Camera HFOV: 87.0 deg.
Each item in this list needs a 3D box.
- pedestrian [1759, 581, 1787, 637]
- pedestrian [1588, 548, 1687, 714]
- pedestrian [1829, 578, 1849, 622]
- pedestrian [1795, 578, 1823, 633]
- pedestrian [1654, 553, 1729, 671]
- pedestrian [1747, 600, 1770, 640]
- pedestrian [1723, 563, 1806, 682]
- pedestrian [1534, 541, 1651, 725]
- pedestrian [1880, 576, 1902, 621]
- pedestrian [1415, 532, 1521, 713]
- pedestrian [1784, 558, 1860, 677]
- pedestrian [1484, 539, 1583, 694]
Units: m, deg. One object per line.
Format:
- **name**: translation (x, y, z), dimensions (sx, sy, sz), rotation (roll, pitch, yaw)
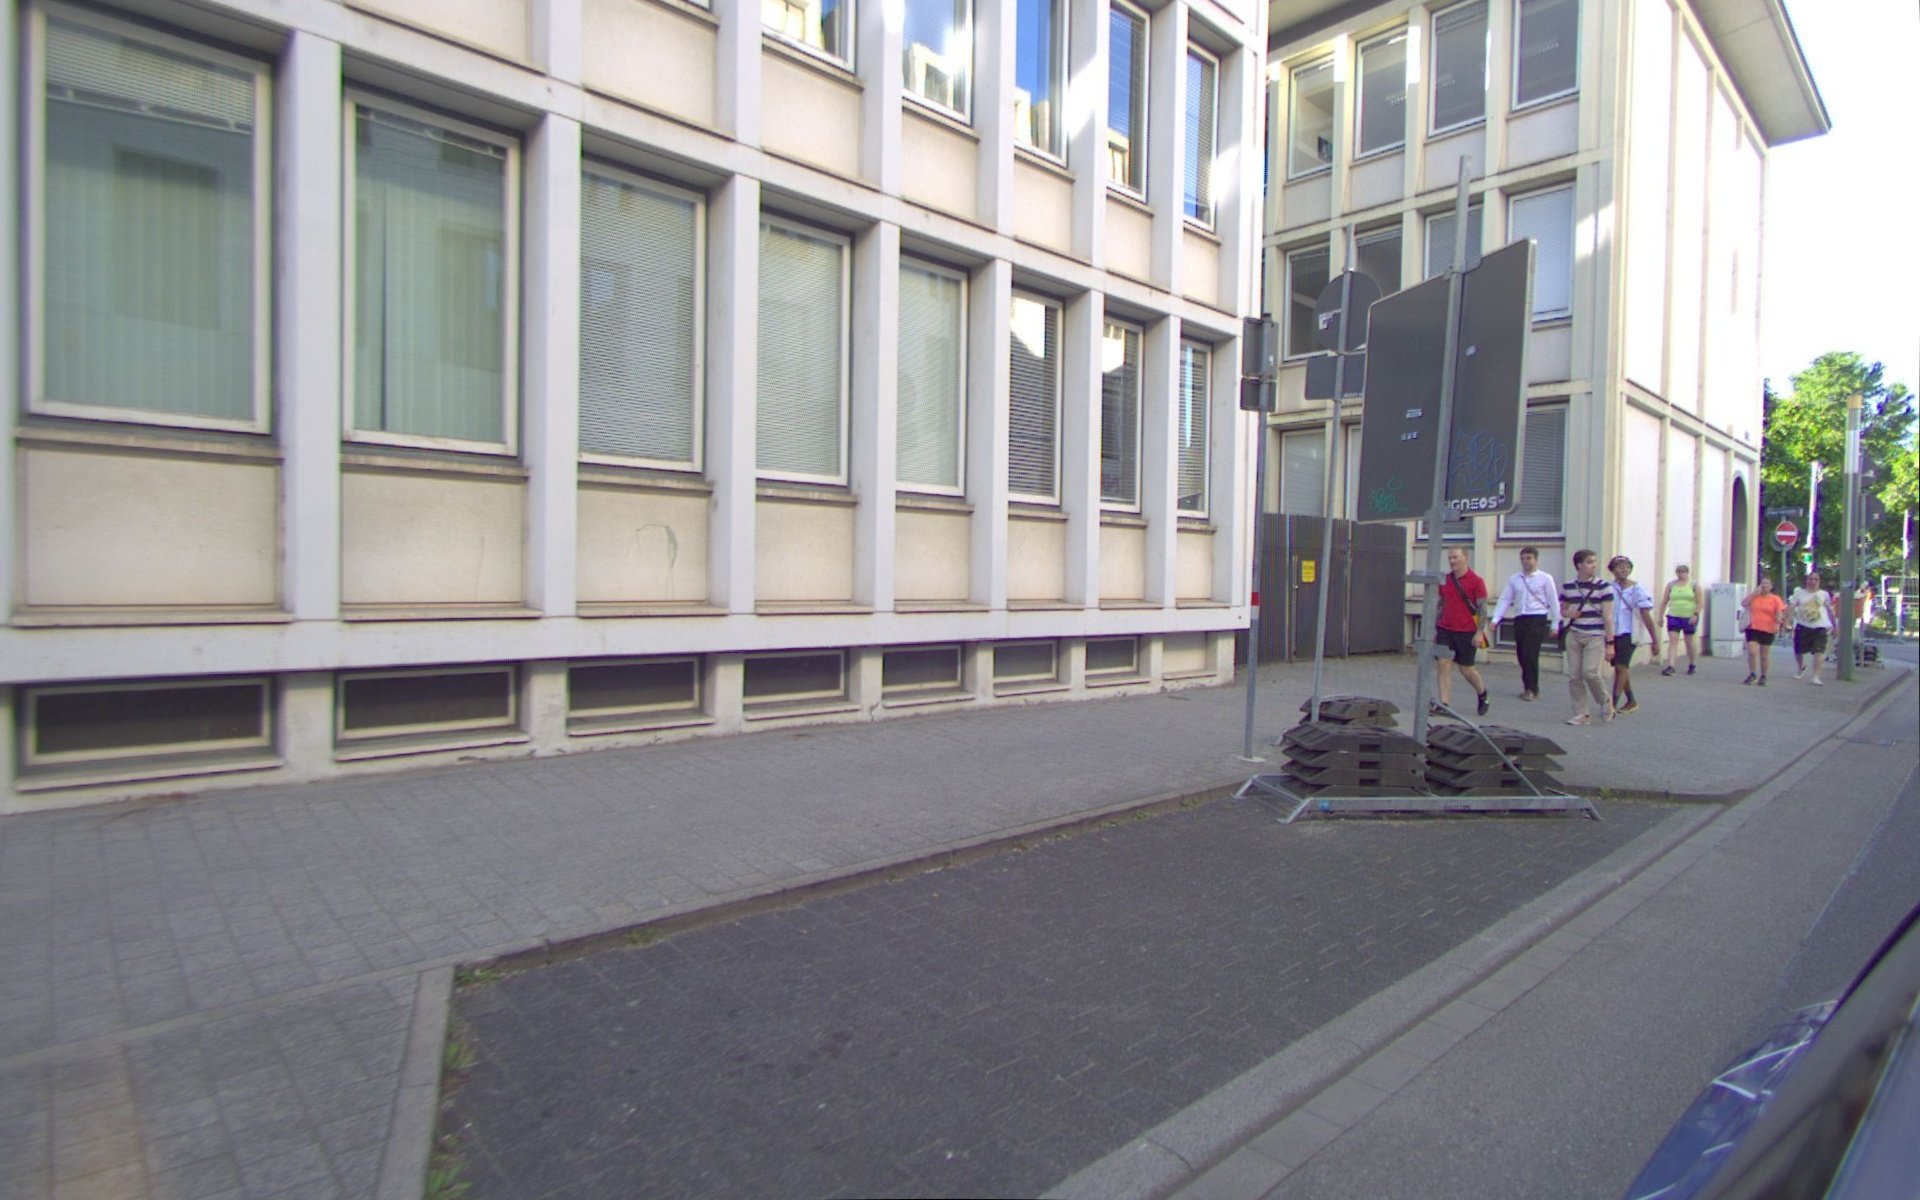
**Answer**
- **pedestrian**: translation (24.589, 0.256, 30.610), dimensions (0.624, 1.662, 0.614), rotation (1, 1, 42)
- **pedestrian**: translation (7.701, 0.326, 11.512), dimensions (0.681, 1.800, 0.684), rotation (0, 3, -41)
- **pedestrian**: translation (36.813, -0.016, 42.388), dimensions (0.624, 1.805, 0.614), rotation (1, 1, 42)
- **pedestrian**: translation (25.759, 0.157, 30.694), dimensions (0.624, 1.634, 0.614), rotation (1, 1, 42)
- **pedestrian**: translation (11.256, 0.167, 15.581), dimensions (0.681, 1.736, 0.685), rotation (0, 4, -41)
- **pedestrian**: translation (24.789, 0.605, 31.412), dimensions (0.533, 1.191, 0.614), rotation (1, 1, 42)
- **pedestrian**: translation (11.850, 0.311, 14.909), dimensions (0.681, 1.655, 0.685), rotation (0, 6, -41)
- **pedestrian**: translation (6.631, 0.323, 10.621), dimensions (0.681, 1.799, 0.685), rotation (0, 7, -41)
- **pedestrian**: translation (37.833, -0.075, 41.129), dimensions (0.624, 1.805, 0.614), rotation (1, 1, 42)
- **pedestrian**: translation (5.311, 0.213, 10.594), dimensions (0.583, 1.799, 0.685), rotation (0, 5, -41)
- **pedestrian**: translation (13.189, 0.251, 15.486), dimensions (0.681, 1.736, 0.685), rotation (0, 4, -41)
- **pedestrian**: translation (7.074, 0.185, 12.497), dimensions (0.681, 1.799, 0.685), rotation (0, 7, -41)
